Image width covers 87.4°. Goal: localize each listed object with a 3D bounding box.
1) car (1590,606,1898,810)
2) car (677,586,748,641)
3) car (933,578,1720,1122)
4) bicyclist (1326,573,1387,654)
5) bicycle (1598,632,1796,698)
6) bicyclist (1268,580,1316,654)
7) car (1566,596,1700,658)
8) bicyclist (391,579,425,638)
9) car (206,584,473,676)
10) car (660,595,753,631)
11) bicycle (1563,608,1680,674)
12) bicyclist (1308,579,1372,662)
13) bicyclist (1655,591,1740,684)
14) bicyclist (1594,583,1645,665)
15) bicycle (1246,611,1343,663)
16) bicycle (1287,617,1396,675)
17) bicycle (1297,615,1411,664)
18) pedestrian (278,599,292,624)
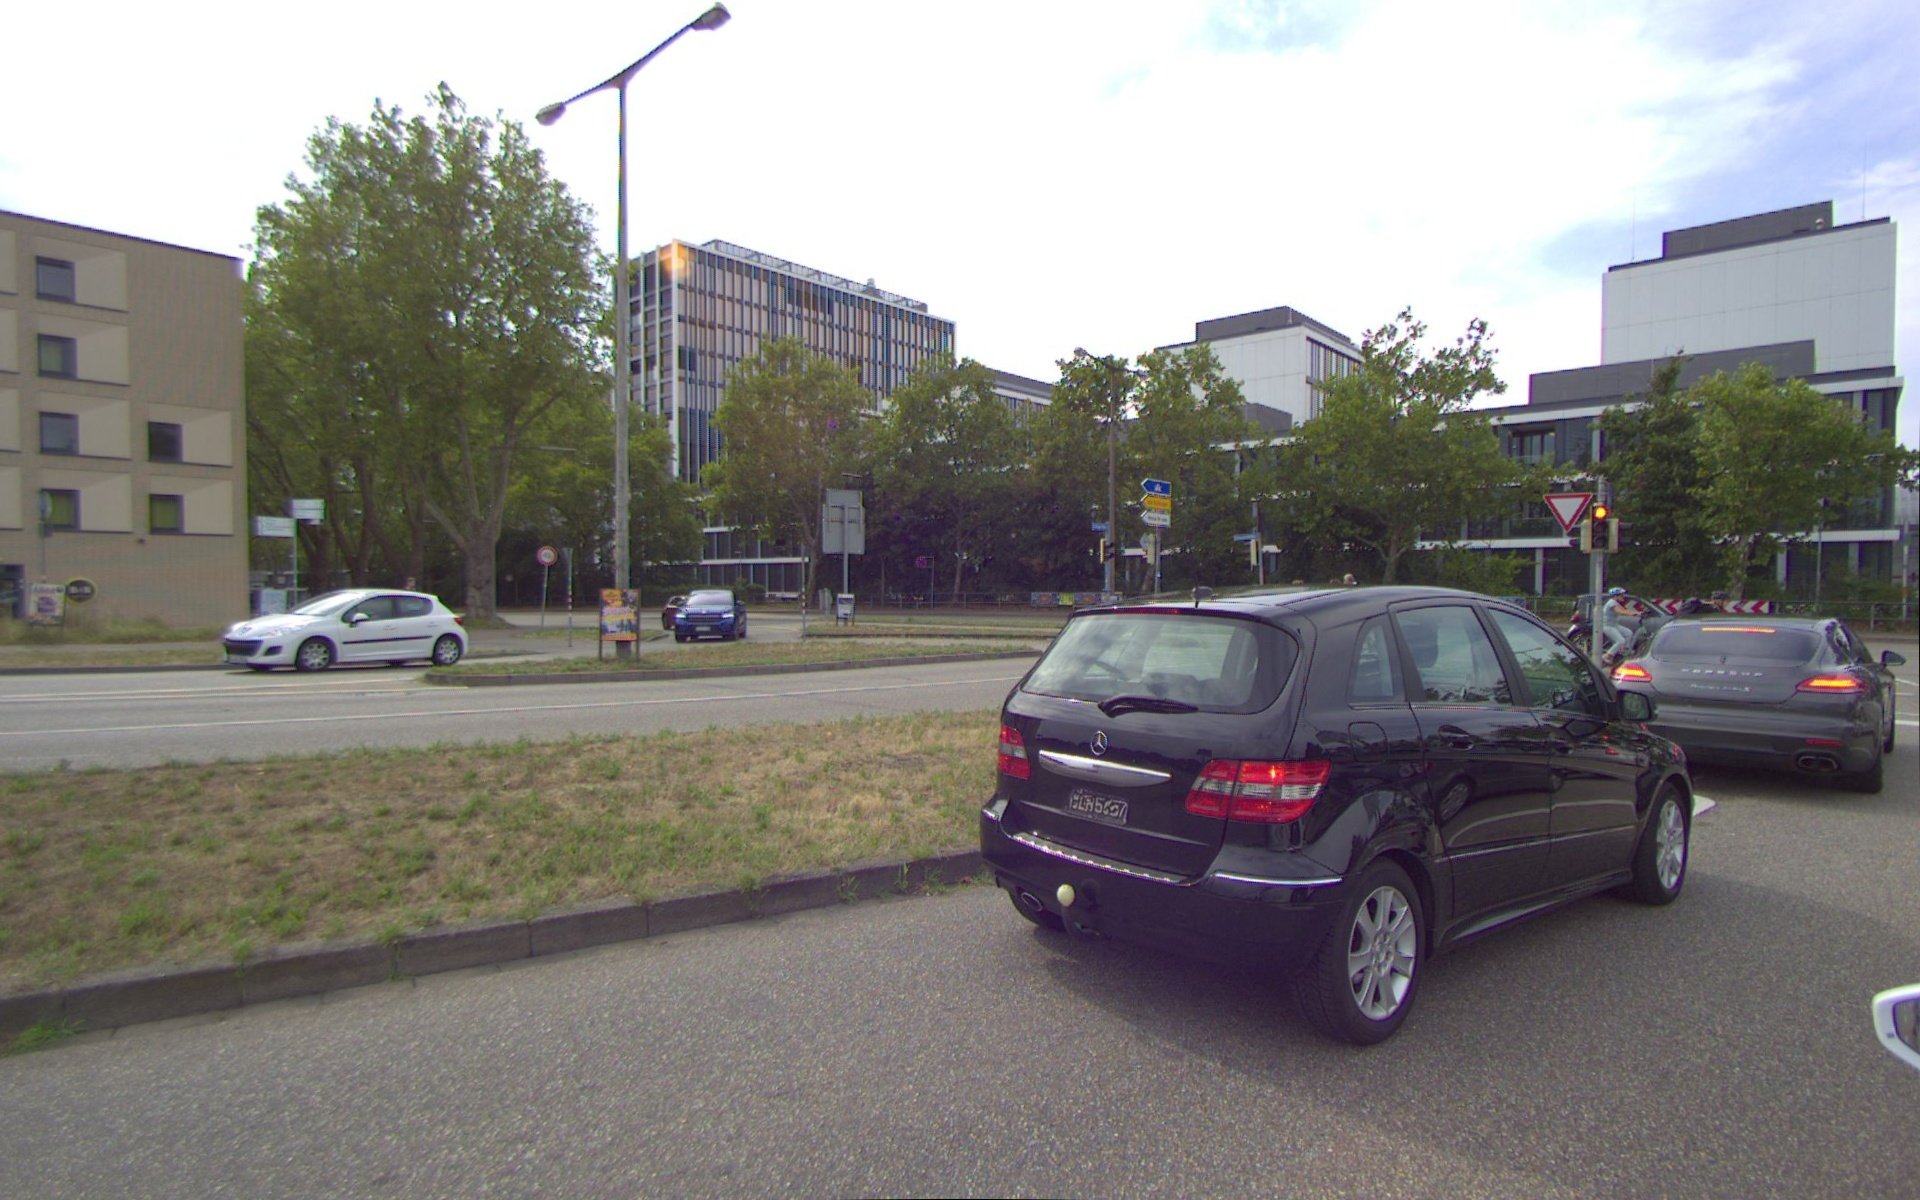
[{"bbox_3d":[7.724,0.807,9.691,1.800,1.433,4.746,2,1,44],"label":"car"},{"bbox_3d":[-7.773,0.420,31.863,1.915,1.581,4.455,1,0,-11],"label":"car"},{"bbox_3d":[1.987,0.710,4.881,4.000,1.596,1.743,-1,2,-38],"label":"car"},{"bbox_3d":[8.598,0.284,21.786,1.096,1.719,0.811,1,1,32],"label":"bicyclist"},{"bbox_3d":[11.963,1.027,16.412,2.550,0.902,0.702,1,1,37],"label":"bicycle"},{"bbox_3d":[7.135,0.355,21.576,0.827,1.550,0.626,1,1,35],"label":"bicyclist"},{"bbox_3d":[17.020,0.645,25.430,2.678,1.441,1.492,1,1,40],"label":"car"},{"bbox_3d":[-15.535,0.230,28.258,0.734,1.636,0.912,0,1,-34],"label":"bicyclist"},{"bbox_3d":[-11.204,0.517,18.439,1.698,1.464,3.874,1,0,23],"label":"car"},{"bbox_3d":[-10.614,0.530,41.899,1.937,1.399,4.159,2,0,-44],"label":"car"},{"bbox_3d":[13.122,0.785,19.948,1.878,1.226,0.640,1,1,40],"label":"bicycle"},{"bbox_3d":[7.340,0.384,19.416,1.003,1.560,0.626,1,1,38],"label":"bicyclist"},{"bbox_3d":[12.003,0.589,16.376,1.099,1.456,0.645,1,1,36],"label":"bicyclist"},{"bbox_3d":[13.098,0.458,19.948,0.770,1.602,0.652,1,1,40],"label":"bicyclist"},{"bbox_3d":[7.165,0.781,21.558,1.876,1.027,0.626,1,1,35],"label":"bicycle"},{"bbox_3d":[7.361,0.867,19.420,1.877,1.027,0.626,1,1,38],"label":"bicycle"},{"bbox_3d":[8.546,0.843,21.827,2.196,0.965,0.810,1,0,32],"label":"bicycle"},{"bbox_3d":[-31.336,0.550,46.607,0.498,1.140,0.458,0,1,-40],"label":"pedestrian"}]
